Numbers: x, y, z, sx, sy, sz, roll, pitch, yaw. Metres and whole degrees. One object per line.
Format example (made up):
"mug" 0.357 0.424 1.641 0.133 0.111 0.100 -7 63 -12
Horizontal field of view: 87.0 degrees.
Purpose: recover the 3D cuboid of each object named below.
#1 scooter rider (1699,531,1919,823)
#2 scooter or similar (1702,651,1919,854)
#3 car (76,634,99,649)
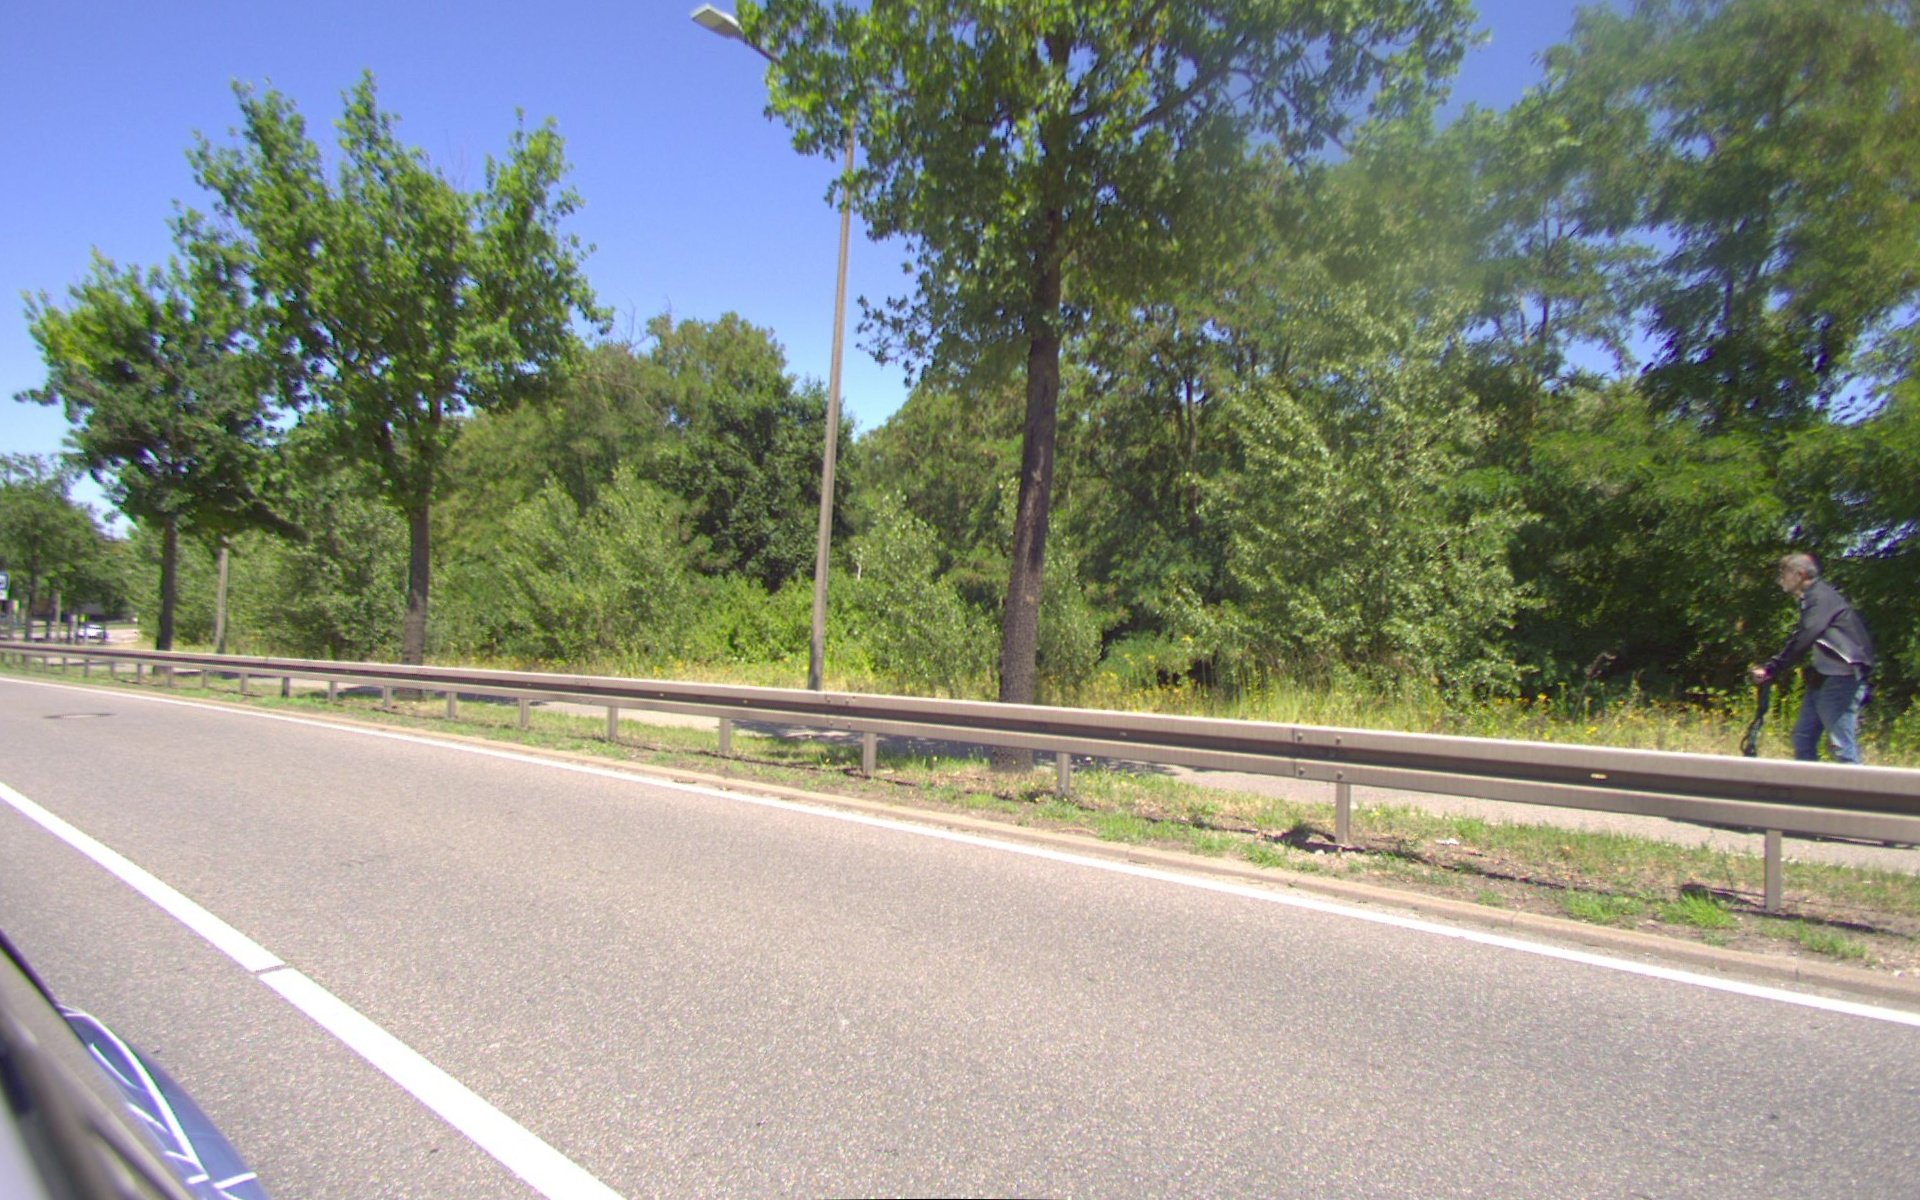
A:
"scooter rider" 5.419 0.441 6.392 1.121 1.670 0.768 -1 0 43
"scooter or similar" 5.419 0.904 6.385 1.095 1.099 0.768 -1 0 44
"car" -96.960 4.616 112.430 1.753 1.454 4.008 0 0 -38
